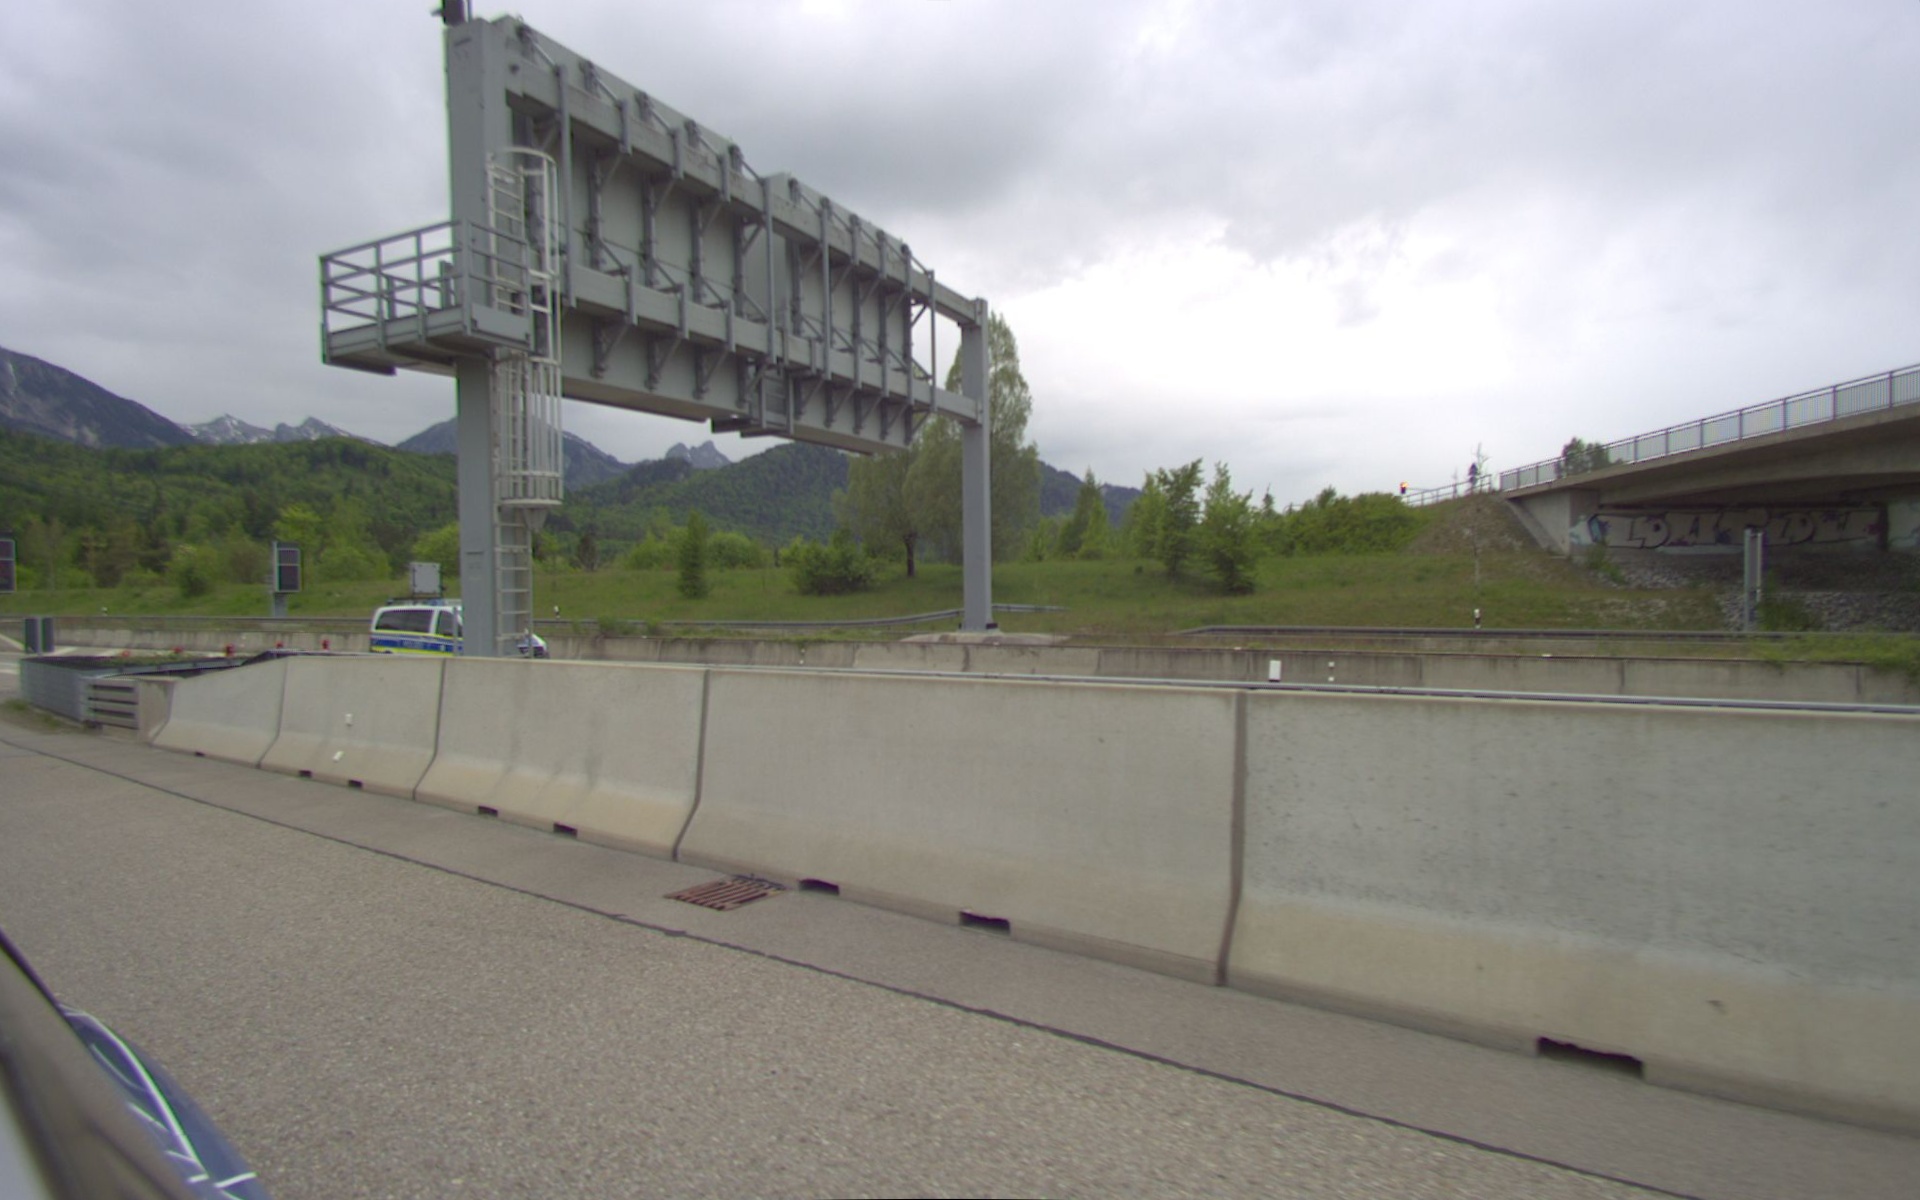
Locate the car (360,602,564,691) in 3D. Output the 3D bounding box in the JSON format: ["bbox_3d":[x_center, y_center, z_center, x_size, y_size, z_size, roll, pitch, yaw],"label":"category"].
[{"bbox_3d":[-12.451,1.096,25.253,5.029,2.029,2.085,-1,-1,29],"label":"car"}]
